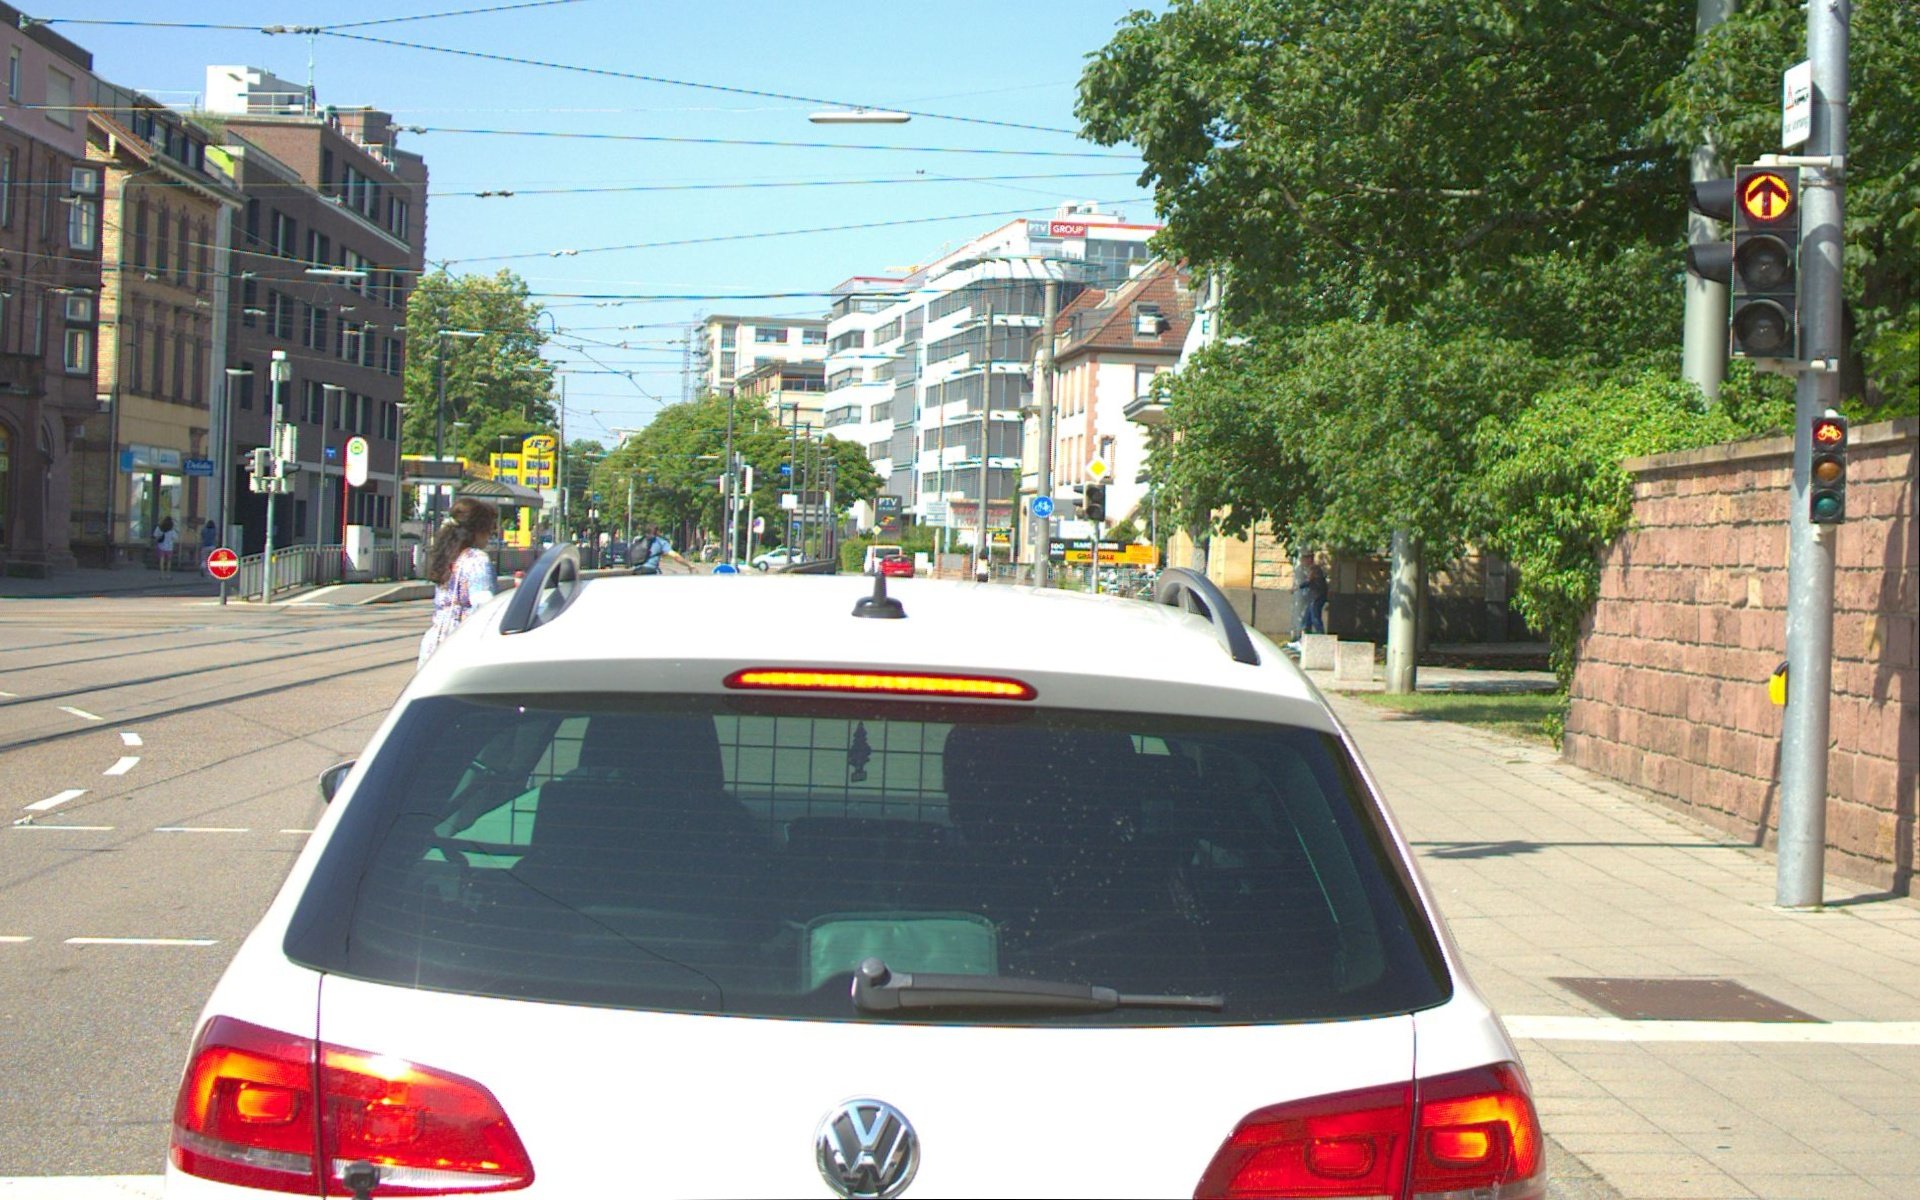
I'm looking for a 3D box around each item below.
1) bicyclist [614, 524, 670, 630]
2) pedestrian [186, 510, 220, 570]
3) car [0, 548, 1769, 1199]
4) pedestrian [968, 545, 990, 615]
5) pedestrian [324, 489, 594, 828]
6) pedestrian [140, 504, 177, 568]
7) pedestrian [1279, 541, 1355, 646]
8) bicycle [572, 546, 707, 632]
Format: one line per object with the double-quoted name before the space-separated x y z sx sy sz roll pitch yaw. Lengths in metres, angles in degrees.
"bicyclist" -4.860 -0.348 52.567 0.562 1.607 0.636 0 0 43
"pedestrian" -22.207 -1.749 100.893 0.861 1.737 0.975 0 0 -6
"car" -0.144 0.673 5.446 1.808 1.443 4.000 2 1 -1
"pedestrian" 0.637 -0.654 113.447 0.690 2.317 1.232 0 0 1
"pedestrian" -2.530 0.283 17.354 0.972 1.645 0.955 0 0 -42
"pedestrian" -22.038 -1.749 94.527 0.861 1.737 0.975 0 0 -6
"pedestrian" 5.949 -0.104 57.234 0.973 1.737 0.863 0 0 33
"bicycle" -4.885 -0.166 52.536 0.559 1.293 2.244 0 0 43
